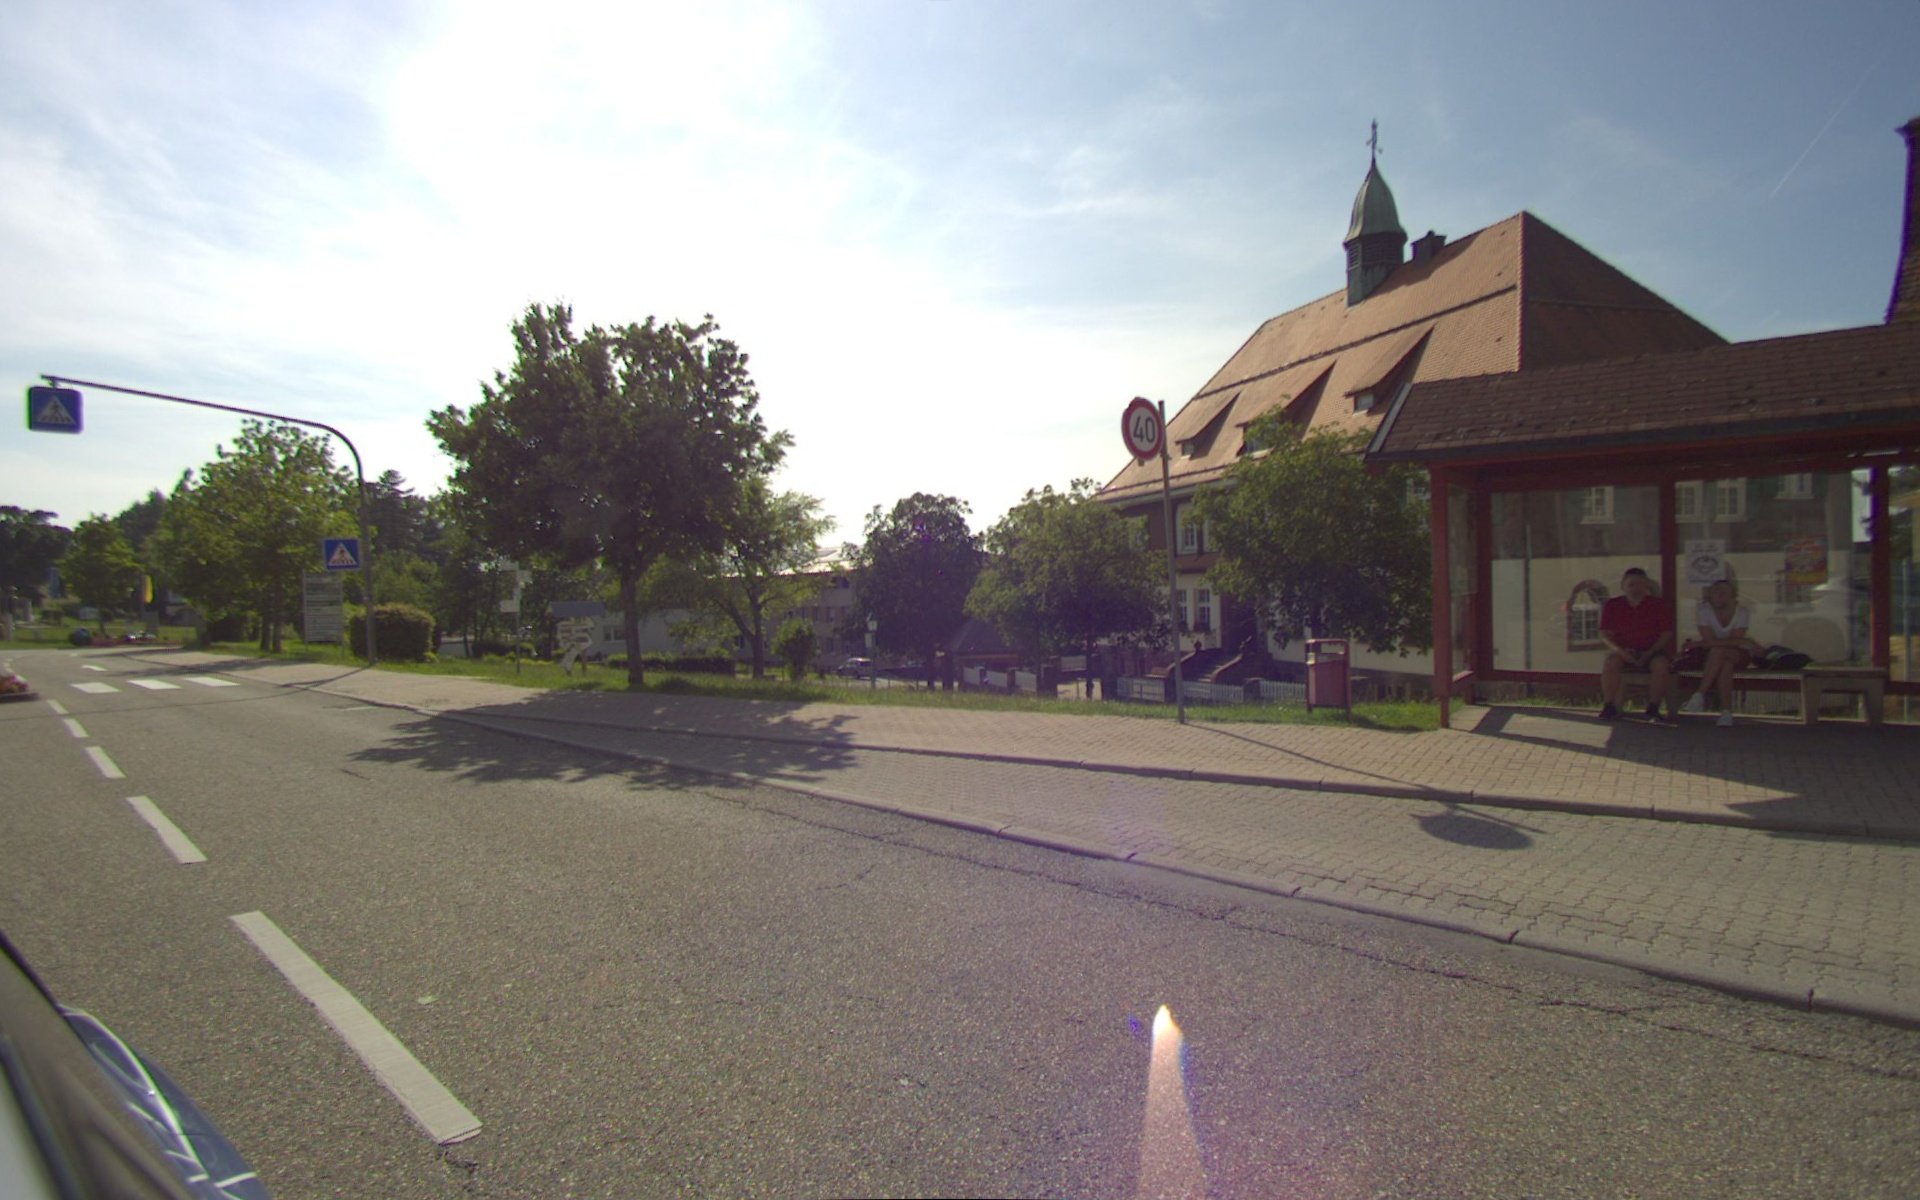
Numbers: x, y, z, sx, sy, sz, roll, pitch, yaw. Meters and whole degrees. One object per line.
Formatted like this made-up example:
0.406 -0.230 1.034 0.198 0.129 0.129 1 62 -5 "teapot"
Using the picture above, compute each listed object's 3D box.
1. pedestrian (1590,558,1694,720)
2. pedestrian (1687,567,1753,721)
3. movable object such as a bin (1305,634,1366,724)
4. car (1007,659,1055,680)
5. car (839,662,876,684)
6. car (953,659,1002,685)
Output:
6.095 0.353 9.043 0.673 1.375 0.611 -3 -4 39 "pedestrian"
6.544 0.374 8.715 0.423 1.262 0.623 -1 -2 38 "pedestrian"
3.631 0.752 9.790 0.485 0.843 0.302 -1 -1 38 "movable object such as a bin"
6.157 6.029 87.738 1.968 1.676 4.008 3 -3 -38 "car"
-7.969 5.669 78.637 1.543 1.652 2.978 1 -3 -36 "car"
1.461 5.924 83.680 1.968 2.029 4.008 3 -3 -38 "car"
